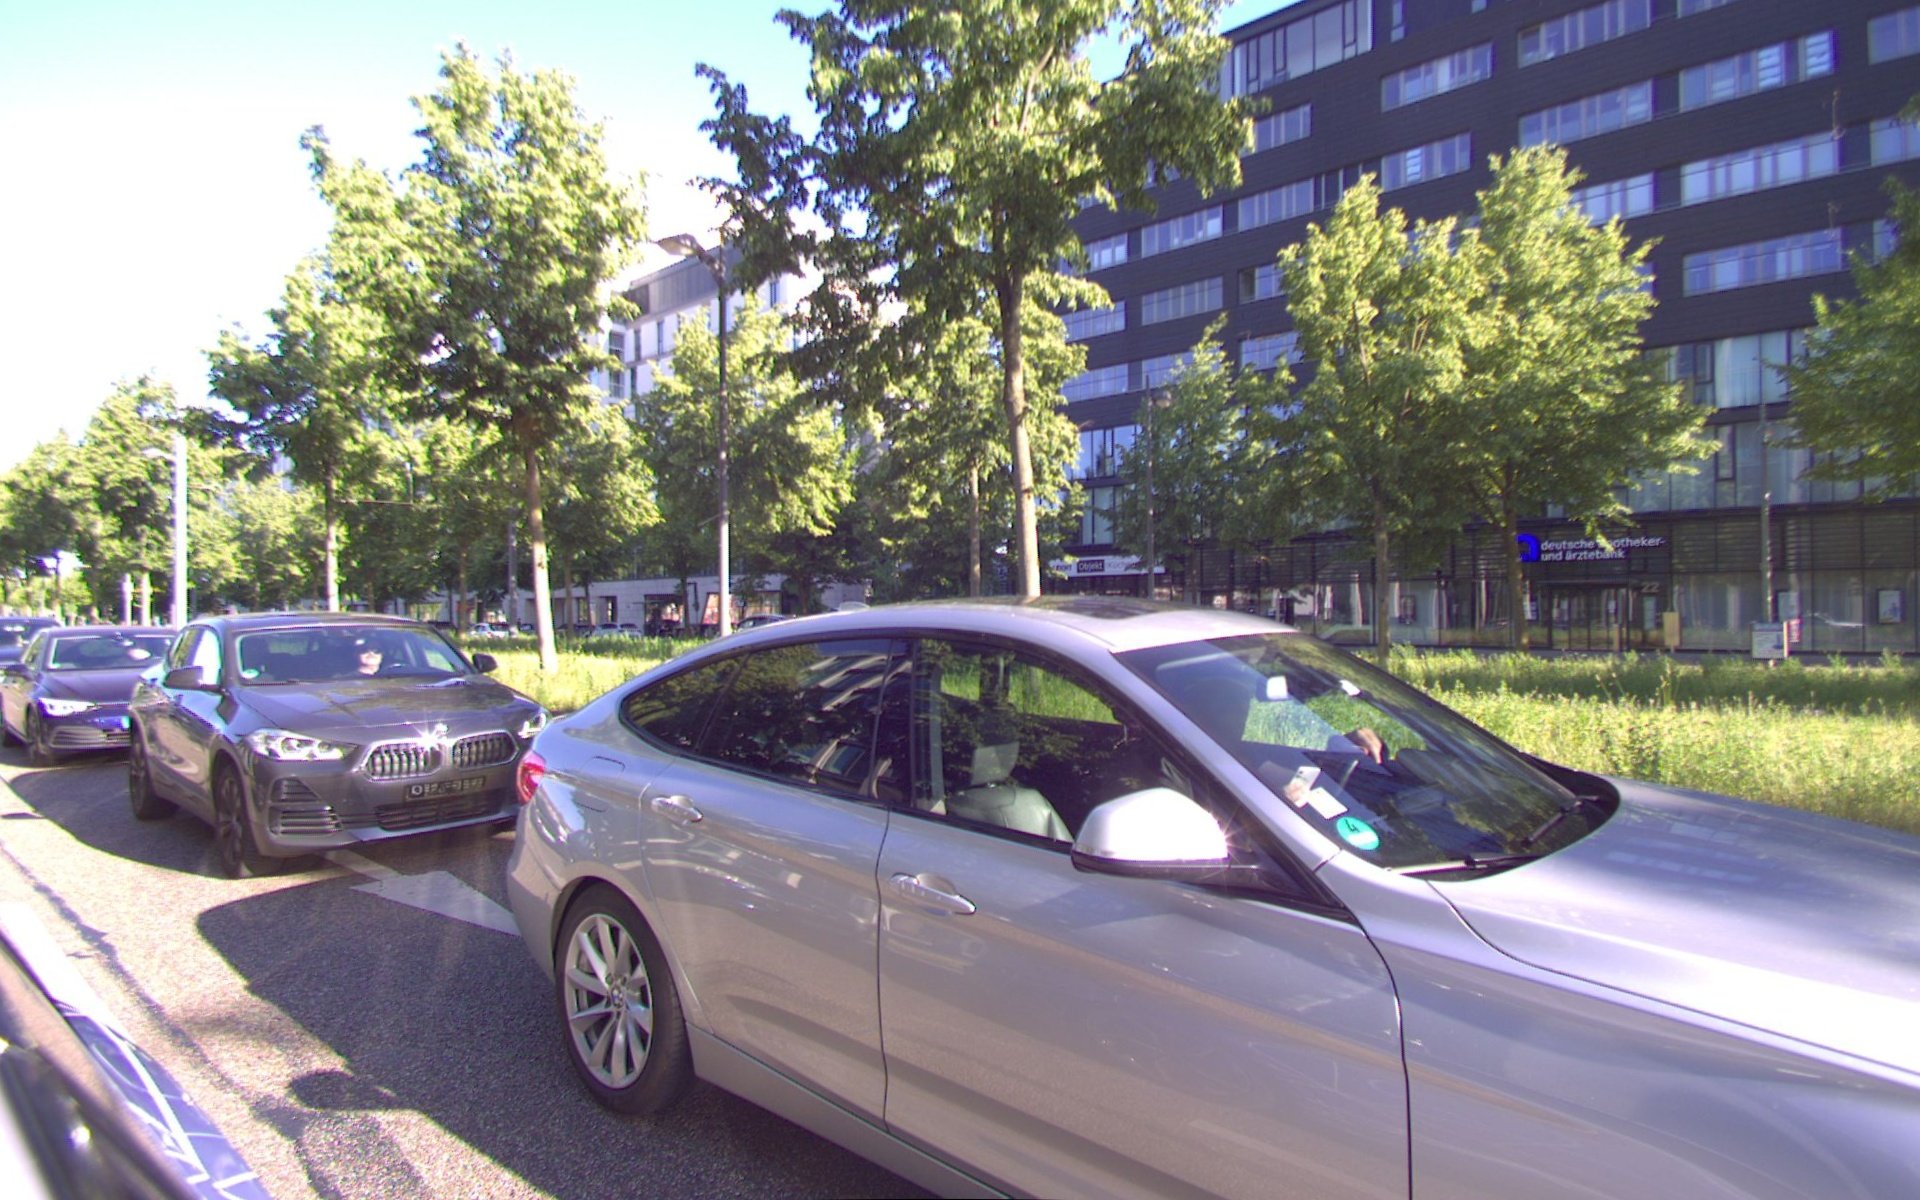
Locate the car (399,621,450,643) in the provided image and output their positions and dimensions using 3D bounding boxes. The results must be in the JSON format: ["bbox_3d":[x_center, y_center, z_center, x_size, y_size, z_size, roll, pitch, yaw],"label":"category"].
[{"bbox_3d":[-42.969,2.573,81.206,4.788,1.711,1.986,-1,-1,40],"label":"car"}]

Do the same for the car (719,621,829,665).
[{"bbox_3d":[-6.488,1.457,35.046,3.998,1.403,1.644,-1,-1,41],"label":"car"}]

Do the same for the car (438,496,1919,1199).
[{"bbox_3d":[0.519,0.667,2.752,4.739,1.500,1.790,-1,-1,40],"label":"car"}]

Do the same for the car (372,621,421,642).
[{"bbox_3d":[-47.354,2.646,85.009,4.788,1.711,1.986,-1,-1,40],"label":"car"}]

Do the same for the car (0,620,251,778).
[{"bbox_3d":[-9.788,0.982,11.632,4.253,1.465,1.789,-1,-1,42],"label":"car"}]

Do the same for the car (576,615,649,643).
[{"bbox_3d":[-21.746,1.815,63.239,4.785,1.711,1.988,-1,-1,38],"label":"car"}]

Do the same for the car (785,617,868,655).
[{"bbox_3d":[-6.554,1.729,49.420,3.998,1.762,1.834,-1,-1,41],"label":"car"}]

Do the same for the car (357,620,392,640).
[{"bbox_3d":[-51.011,2.636,88.161,3.741,1.682,1.581,-1,-1,41],"label":"car"}]

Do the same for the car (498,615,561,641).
[{"bbox_3d":[-29.718,1.926,69.813,4.785,1.711,1.988,-1,-1,38],"label":"car"}]

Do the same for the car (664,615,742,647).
[{"bbox_3d":[-14.328,1.722,56.337,4.790,1.697,1.834,-1,-1,41],"label":"car"}]

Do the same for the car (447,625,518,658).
[{"bbox_3d":[-26.514,2.277,56.095,4.790,1.742,1.834,-1,-1,41],"label":"car"}]

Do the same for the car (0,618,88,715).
[{"bbox_3d":[-17.253,1.143,18.276,4.164,1.602,1.788,-1,-1,42],"label":"car"}]

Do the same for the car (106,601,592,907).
[{"bbox_3d":[-4.435,0.814,7.089,4.027,1.534,1.789,-1,-1,41],"label":"car"}]
